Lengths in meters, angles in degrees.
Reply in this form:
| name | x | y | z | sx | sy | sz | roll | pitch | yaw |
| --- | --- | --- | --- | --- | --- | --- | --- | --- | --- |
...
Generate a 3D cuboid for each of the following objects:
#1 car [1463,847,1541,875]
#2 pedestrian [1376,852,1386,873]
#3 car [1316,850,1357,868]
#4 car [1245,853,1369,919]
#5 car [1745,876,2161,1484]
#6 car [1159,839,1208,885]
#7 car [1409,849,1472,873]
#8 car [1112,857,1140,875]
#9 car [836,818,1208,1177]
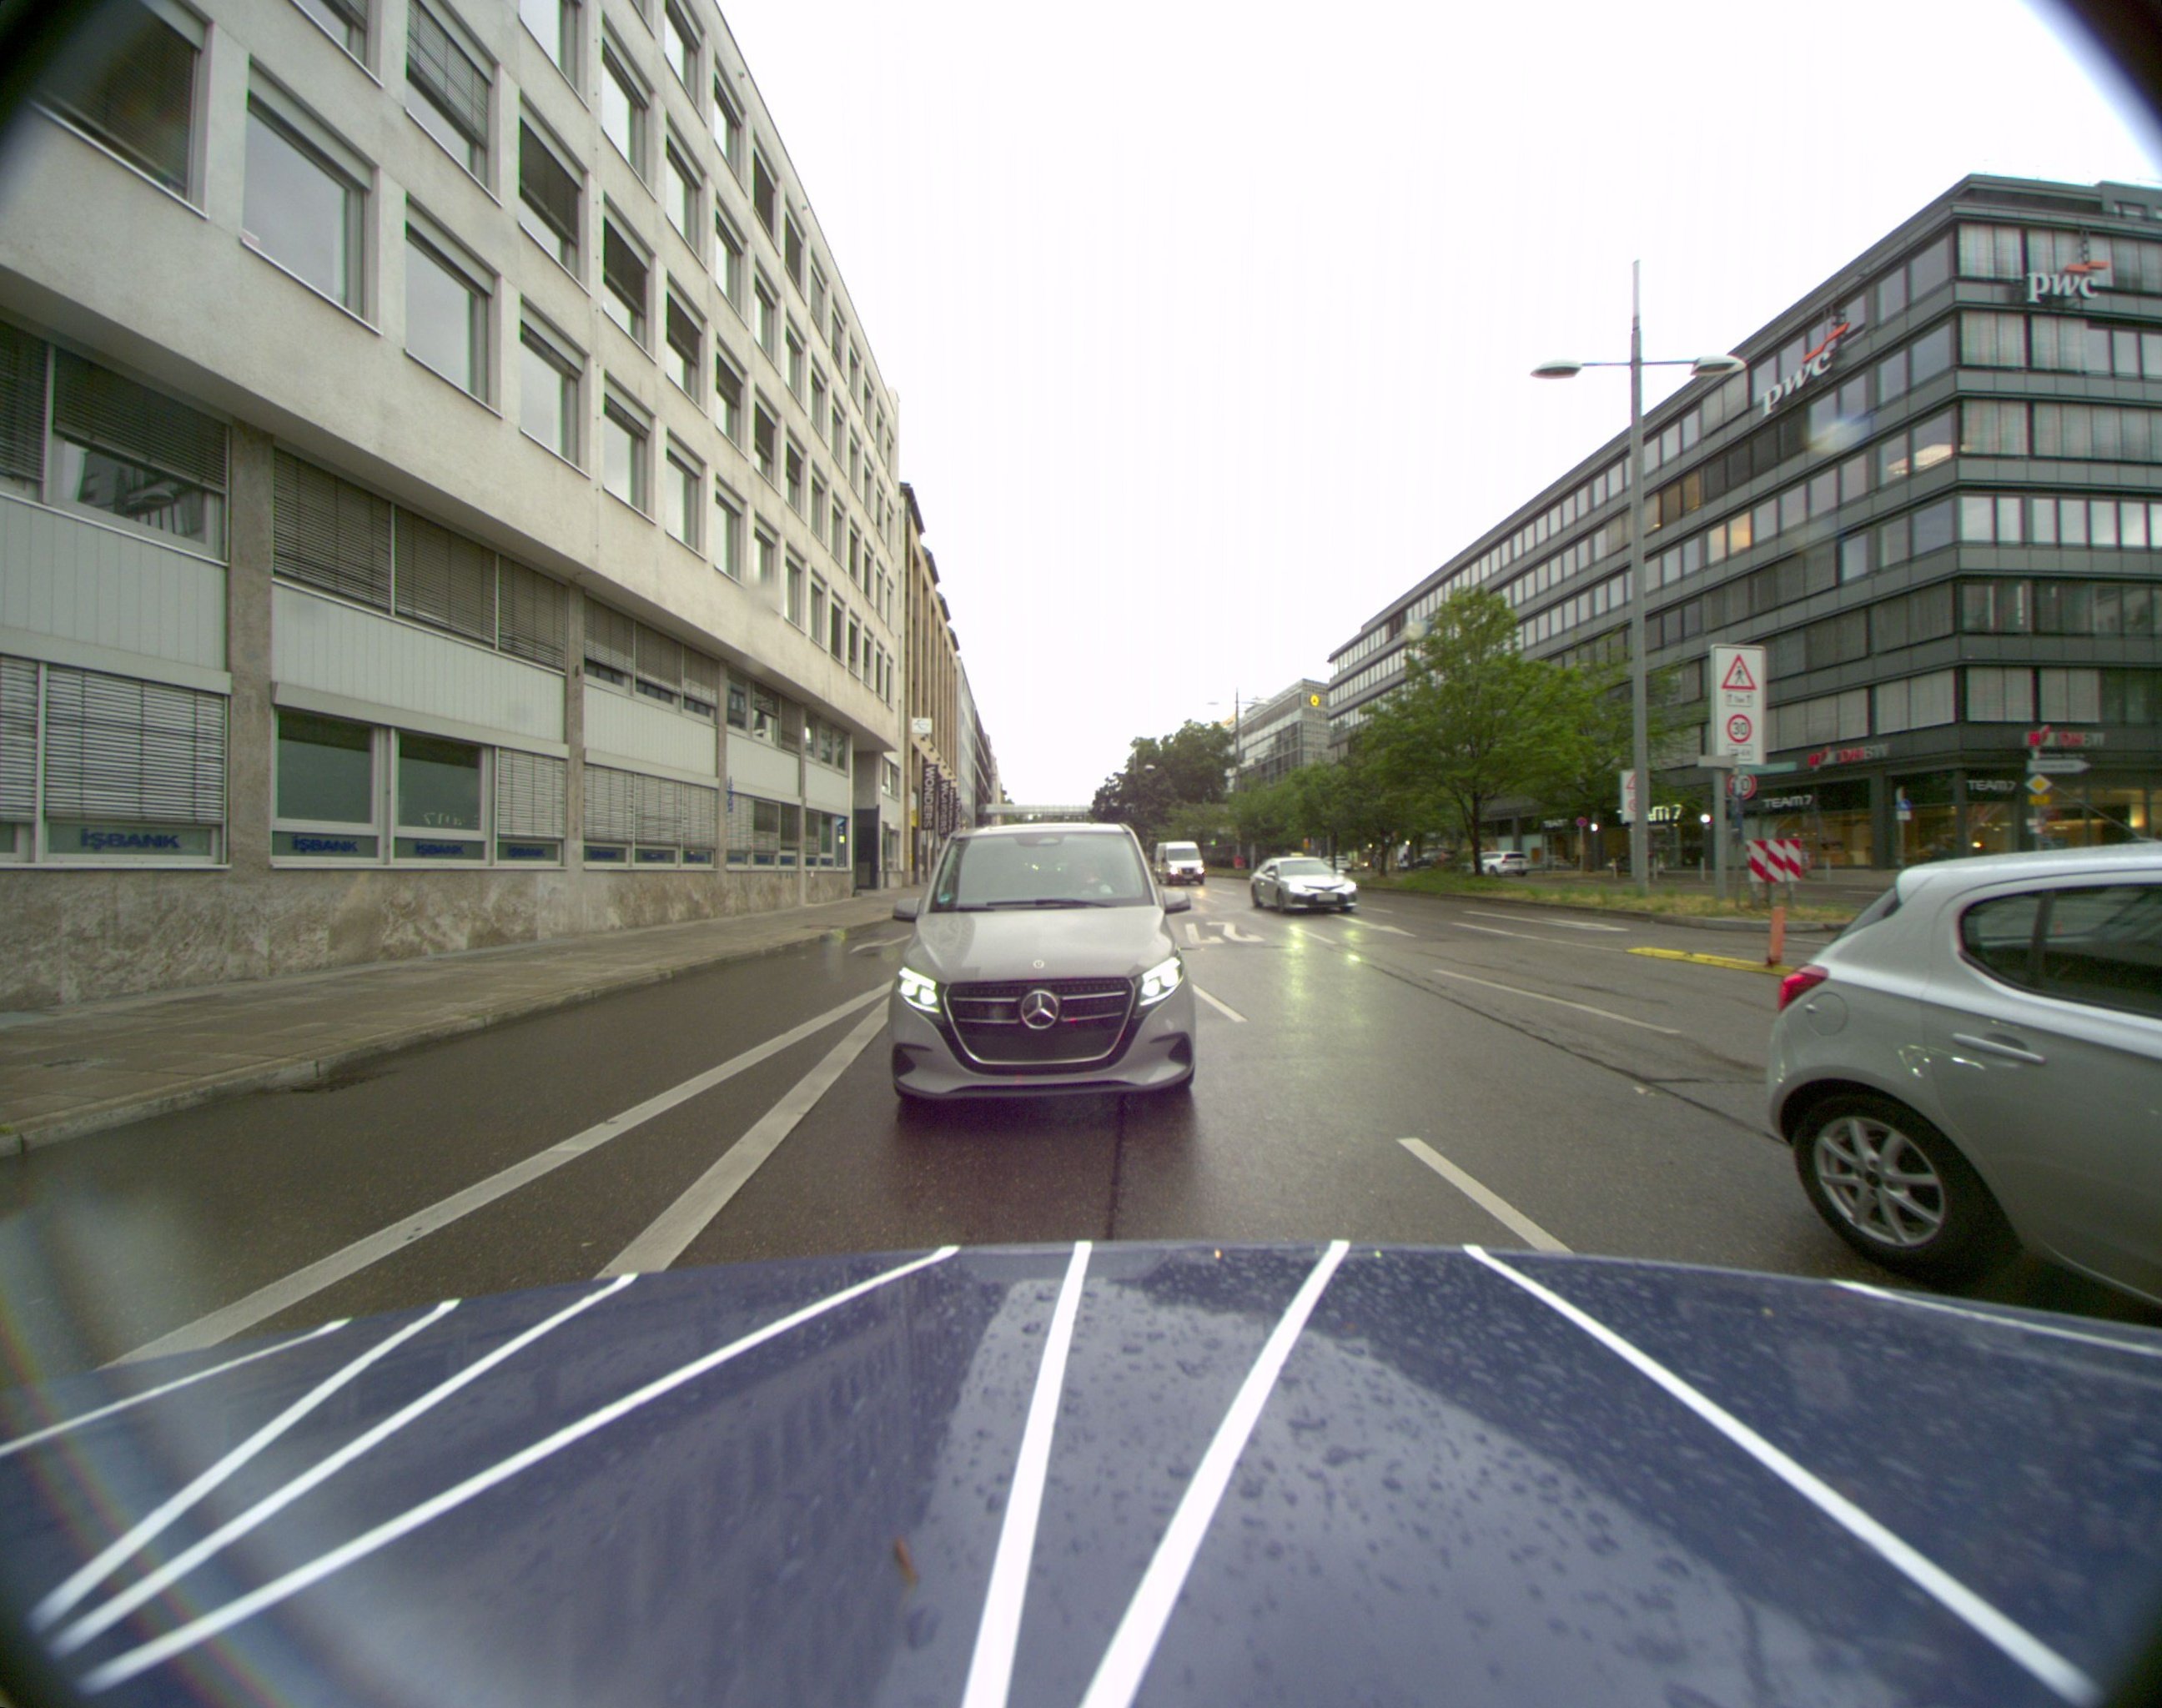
| name | x | y | z | sx | sy | sz | roll | pitch | yaw |
| --- | --- | --- | --- | --- | --- | --- | --- | --- | --- |
| car | 24.107 | 0.388 | 43.678 | 1.999 | 1.498 | 3.999 | -2 | 0 | -4 |
| pedestrian | 28.572 | 0.822 | 72.461 | 0.689 | 2.002 | 0.501 | -2 | 0 | -3 |
| car | 22.397 | 0.458 | 66.681 | 1.999 | 1.498 | 3.999 | -2 | 0 | -4 |
| car | 5.960 | 0.770 | 20.707 | 1.870 | 1.524 | 4.777 | -2 | 0 | 0 |
| car | 3.500 | 0.825 | 1.093 | 1.652 | 1.427 | 3.875 | -2 | 0 | 0 |
| car | 5.763 | 0.426 | 43.387 | 1.951 | 2.426 | 5.480 | -2 | 0 | 0 |
| car | 23.650 | 0.448 | 50.136 | 1.999 | 1.498 | 4.106 | -2 | 0 | -4 |
| car | 3.667 | 0.968 | 62.362 | 1.776 | 1.427 | 4.093 | -2 | 0 | -4 |
| car | -0.330 | 0.771 | 6.563 | 1.916 | 1.844 | 5.026 | -2 | 0 | 0 |
